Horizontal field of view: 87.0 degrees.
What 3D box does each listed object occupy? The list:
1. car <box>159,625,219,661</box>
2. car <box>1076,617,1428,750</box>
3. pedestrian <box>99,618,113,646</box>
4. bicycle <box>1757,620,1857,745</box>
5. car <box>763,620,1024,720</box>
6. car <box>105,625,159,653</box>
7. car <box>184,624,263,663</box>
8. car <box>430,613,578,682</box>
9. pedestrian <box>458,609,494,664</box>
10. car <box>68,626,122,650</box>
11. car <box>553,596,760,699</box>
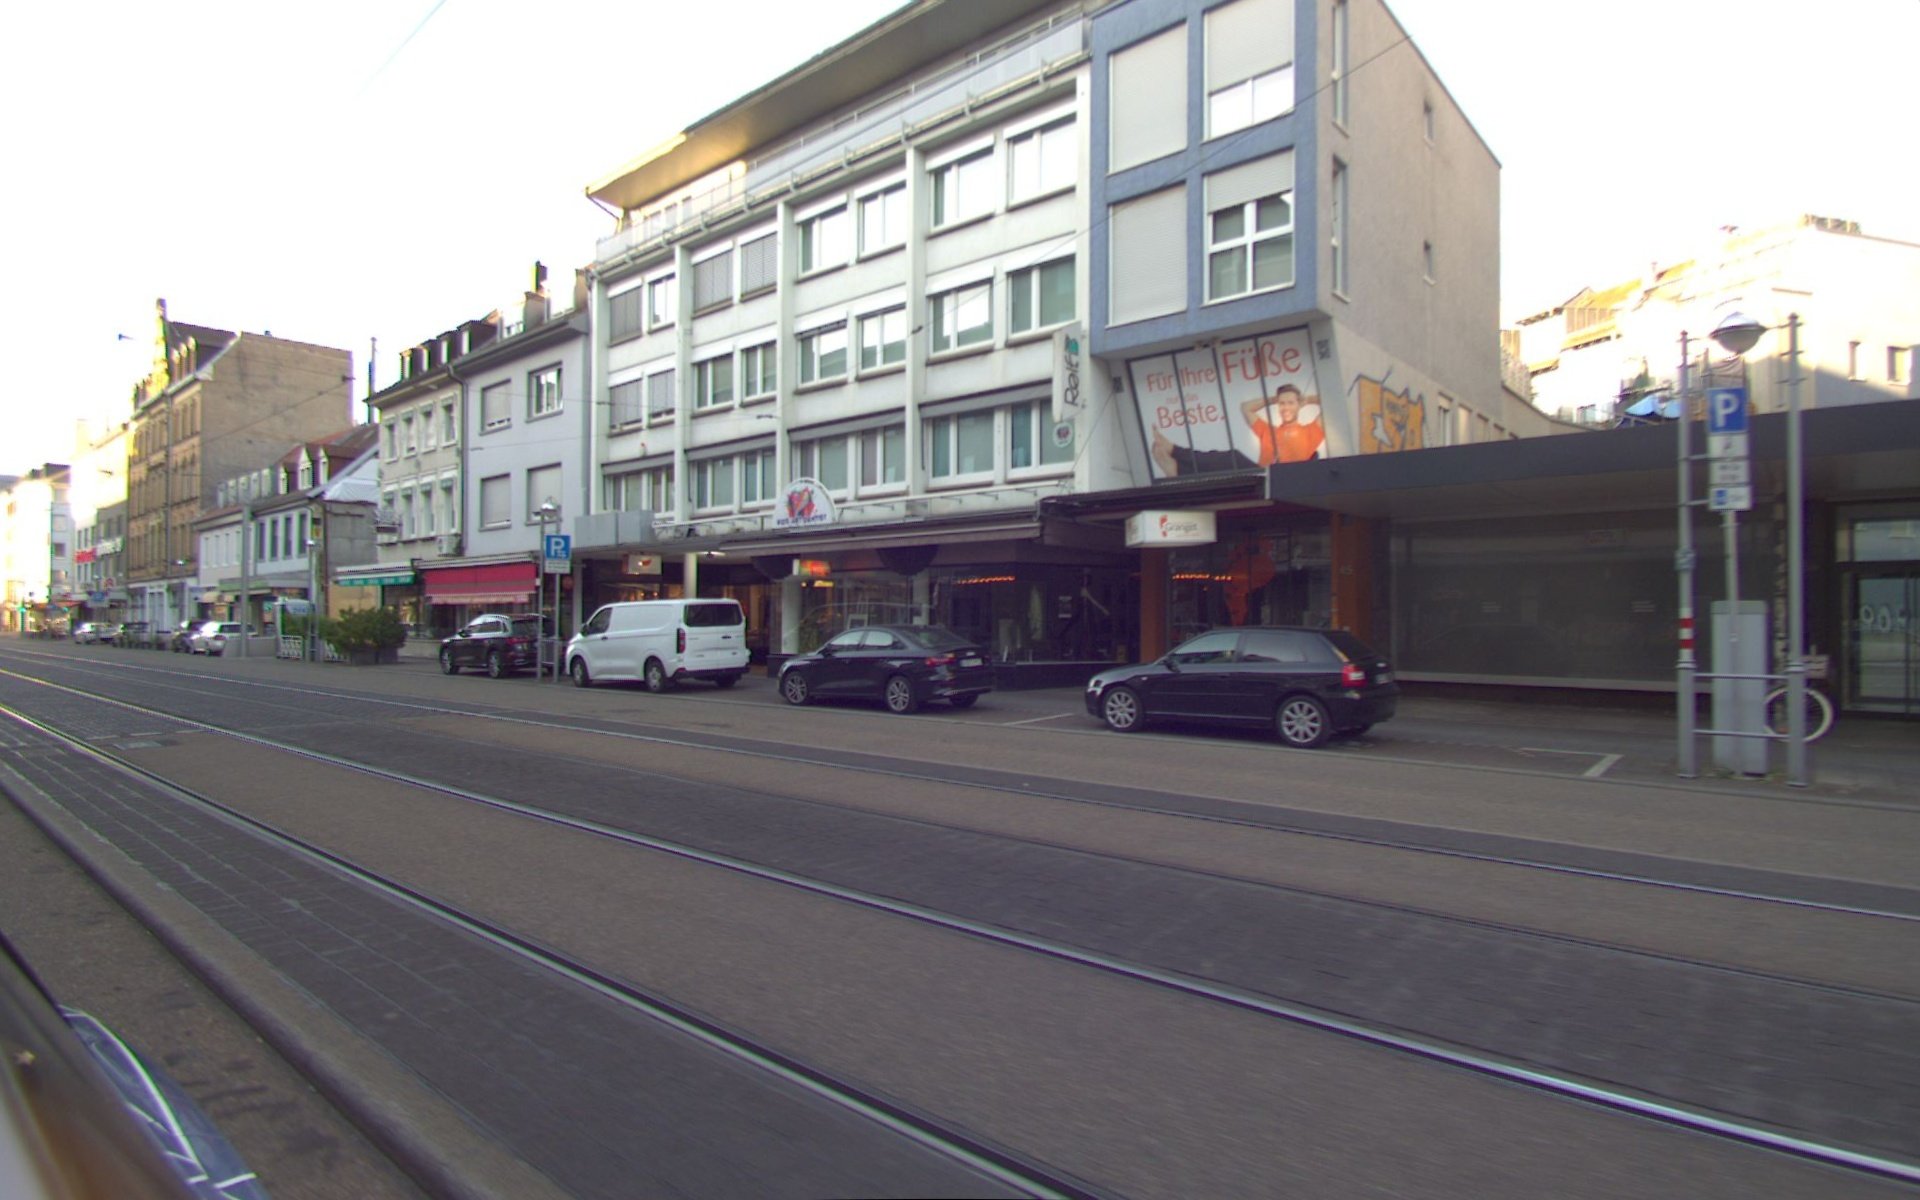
[{"bbox_3d":[-36.894,2.023,48.406,3.469,1.582,1.638,-1,0,41],"label":"car"},{"bbox_3d":[3.701,0.979,13.266,4.090,1.472,1.771,-1,-2,42],"label":"car"},{"bbox_3d":[-63.886,2.410,75.711,0.738,2.029,1.049,-1,0,-45],"label":"pedestrian"},{"bbox_3d":[10.506,0.962,12.551,0.875,1.350,2.025,-1,0,41],"label":"bicycle"},{"bbox_3d":[-1.267,1.113,17.629,4.569,1.437,1.852,-1,0,41],"label":"car"},{"bbox_3d":[-48.278,2.227,58.995,3.814,1.504,1.822,-1,0,41],"label":"car"},{"bbox_3d":[-32.958,1.909,45.246,4.621,1.568,1.871,-1,0,41],"label":"car"},{"bbox_3d":[-12.573,1.228,27.800,4.586,1.710,1.973,-1,0,41],"label":"car"},{"bbox_3d":[-16.369,1.219,34.240,0.818,1.795,0.809,-1,0,41],"label":"pedestrian"},{"bbox_3d":[-57.398,2.506,67.128,4.399,1.431,1.974,-1,0,39],"label":"car"},{"bbox_3d":[-6.864,0.962,22.564,5.096,2.029,1.944,-1,0,40],"label":"car"}]
